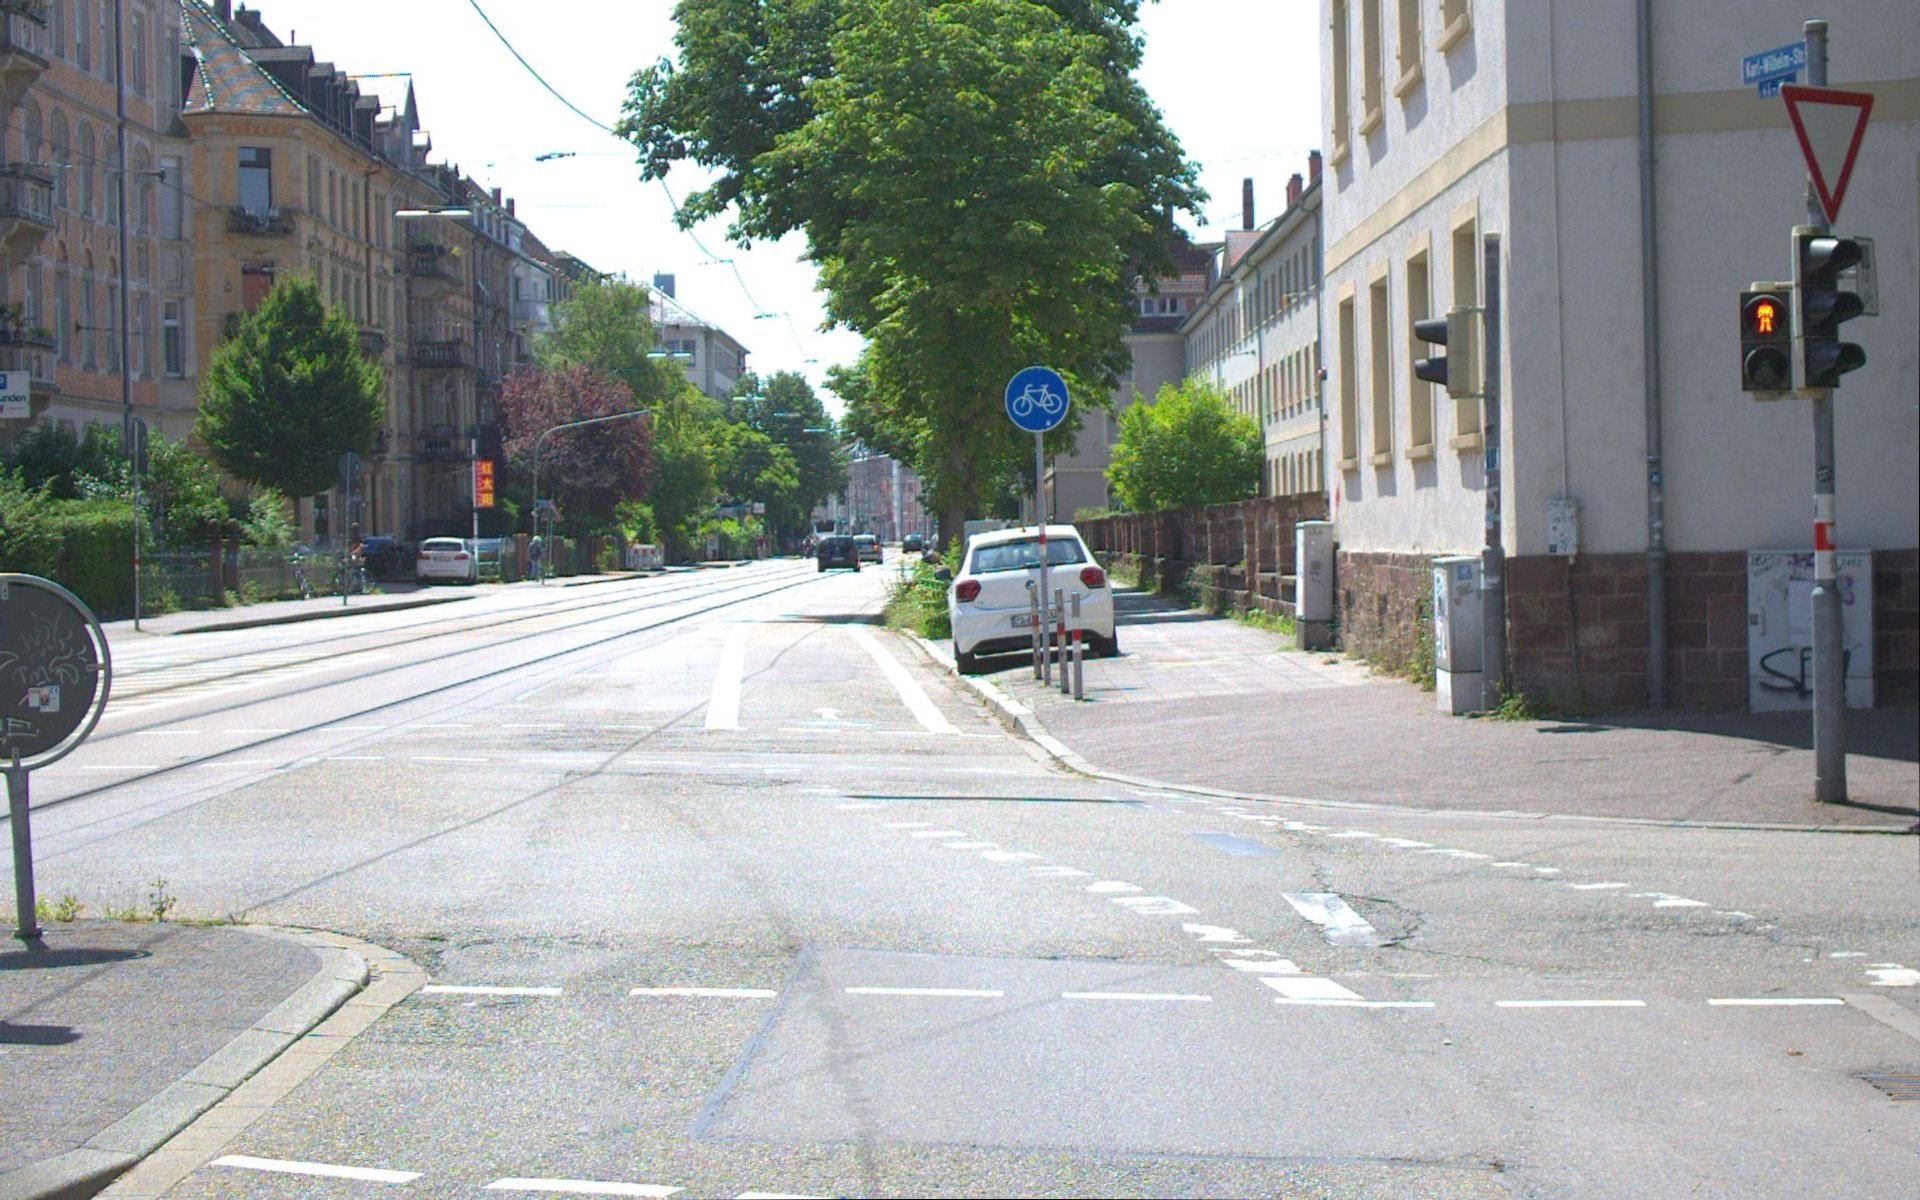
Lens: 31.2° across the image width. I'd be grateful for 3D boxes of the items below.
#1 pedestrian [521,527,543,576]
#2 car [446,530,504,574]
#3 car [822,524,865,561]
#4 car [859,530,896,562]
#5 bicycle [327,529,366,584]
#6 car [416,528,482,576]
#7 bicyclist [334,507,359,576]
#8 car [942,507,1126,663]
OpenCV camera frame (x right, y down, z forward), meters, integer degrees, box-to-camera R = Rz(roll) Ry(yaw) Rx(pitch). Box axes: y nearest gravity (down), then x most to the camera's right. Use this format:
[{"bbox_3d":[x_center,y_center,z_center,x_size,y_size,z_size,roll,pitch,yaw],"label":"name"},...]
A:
[{"bbox_3d":[-15.053,-1.709,120.891,0.678,1.721,0.677,0,1,-1],"label":"pedestrian"},{"bbox_3d":[-17.457,-1.730,123.920,1.628,1.467,3.564,-4,1,-3],"label":"car"},{"bbox_3d":[-4.704,-2.316,139.027,1.525,1.439,3.365,-2,1,0],"label":"car"},{"bbox_3d":[-4.123,-2.730,172.677,1.747,1.467,3.938,-4,1,-1],"label":"car"},{"bbox_3d":[-15.728,-1.123,88.143,0.577,1.383,2.501,0,1,-1],"label":"bicycle"},{"bbox_3d":[-17.172,-1.598,115.618,1.684,1.467,3.939,-4,1,-3],"label":"car"},{"bbox_3d":[-15.714,-1.503,88.051,0.542,1.757,0.498,0,1,-1],"label":"bicyclist"},{"bbox_3d":[0.749,-0.181,37.177,1.747,1.467,3.938,-4,1,-1],"label":"car"}]
